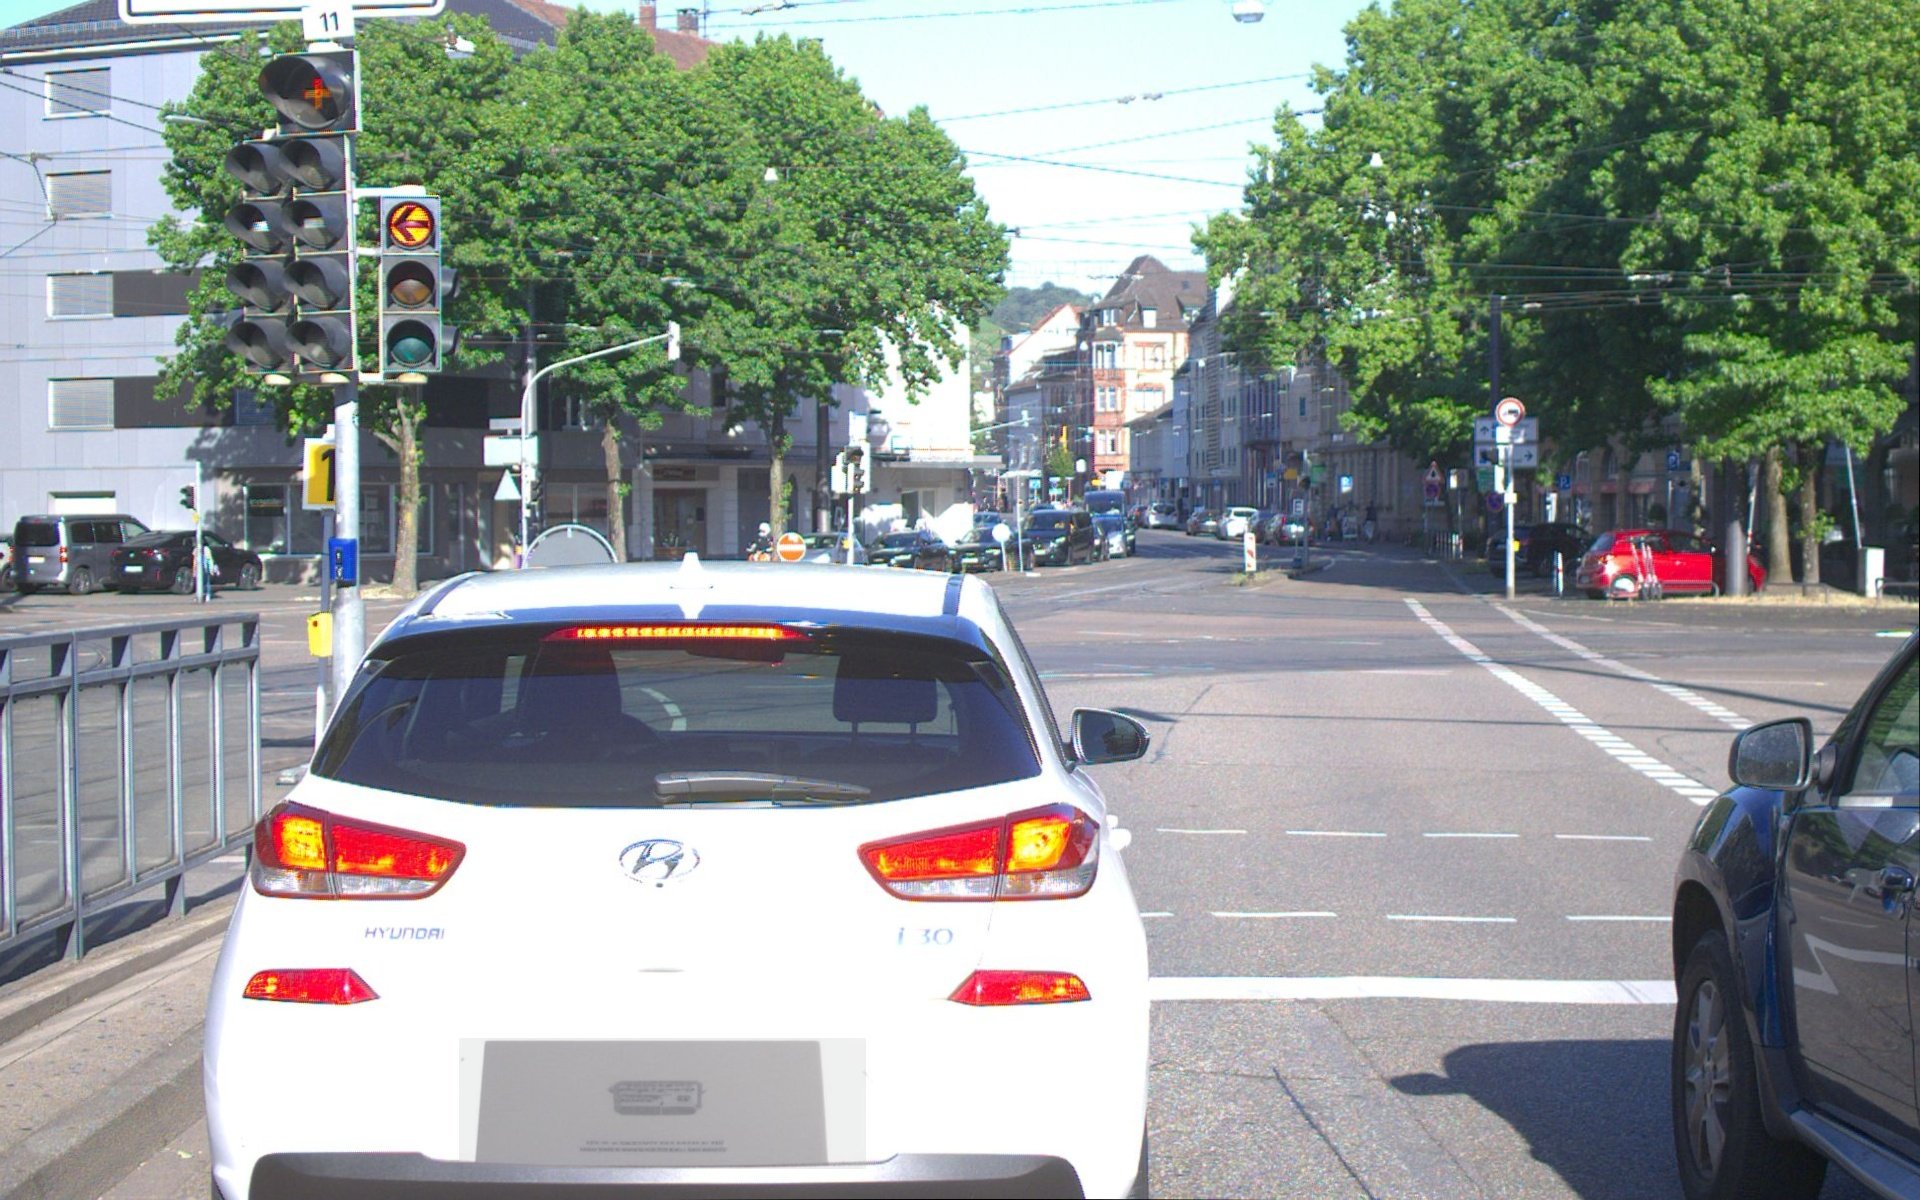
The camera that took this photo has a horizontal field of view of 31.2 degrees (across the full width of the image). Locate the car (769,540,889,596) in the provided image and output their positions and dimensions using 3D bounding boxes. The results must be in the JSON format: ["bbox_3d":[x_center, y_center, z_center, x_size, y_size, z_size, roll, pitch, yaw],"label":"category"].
[{"bbox_3d":[-3.583,-0.883,94.594,1.726,1.505,3.871,0,1,25],"label":"car"}]

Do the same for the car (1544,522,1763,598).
[{"bbox_3d":[14.023,-0.824,69.615,3.986,1.505,1.801,0,1,-8],"label":"car"}]

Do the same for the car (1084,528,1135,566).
[{"bbox_3d":[6.015,-2.151,138.648,1.794,1.505,4.000,0,1,-2],"label":"car"}]

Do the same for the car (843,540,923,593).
[{"bbox_3d":[-2.232,-0.975,100.517,1.794,1.505,3.999,0,0,7],"label":"car"}]

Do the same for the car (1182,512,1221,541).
[{"bbox_3d":[12.936,-3.940,184.179,1.794,1.517,4.000,0,1,-1],"label":"car"}]

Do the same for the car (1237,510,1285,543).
[{"bbox_3d":[13.898,-3.405,158.781,1.794,1.505,4.000,0,1,-1],"label":"car"}]

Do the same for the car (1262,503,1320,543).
[{"bbox_3d":[14.651,-3.412,152.420,2.105,1.770,4.342,0,1,-1],"label":"car"}]

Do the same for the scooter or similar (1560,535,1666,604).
[{"bbox_3d":[12.234,-0.573,64.461,1.949,1.276,0.552,1,1,41],"label":"scooter or similar"}]

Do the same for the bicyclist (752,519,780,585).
[{"bbox_3d":[-5.093,-1.262,90.220,0.468,1.739,0.716,0,1,23],"label":"bicyclist"}]

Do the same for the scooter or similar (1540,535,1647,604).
[{"bbox_3d":[11.773,-0.578,63.912,1.949,1.276,0.552,1,1,41],"label":"scooter or similar"}]

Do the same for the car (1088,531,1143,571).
[{"bbox_3d":[5.900,-1.863,130.661,1.794,1.505,4.000,0,1,-2],"label":"car"}]

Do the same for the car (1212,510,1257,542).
[{"bbox_3d":[13.168,-3.544,164.943,1.794,1.505,4.000,0,1,-1],"label":"car"}]

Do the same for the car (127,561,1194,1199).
[{"bbox_3d":[-0.547,0.657,7.870,1.808,1.447,4.000,1,1,-1],"label":"car"}]

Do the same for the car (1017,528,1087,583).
[{"bbox_3d":[3.128,-1.504,116.054,1.795,1.820,3.999,0,1,10],"label":"car"}]

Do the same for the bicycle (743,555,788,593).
[{"bbox_3d":[-5.095,-0.685,90.228,0.468,0.953,1.765,0,1,23],"label":"bicycle"}]

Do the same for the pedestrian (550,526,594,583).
[{"bbox_3d":[-10.098,-1.184,89.523,0.803,1.479,0.861,0,1,26],"label":"pedestrian"}]

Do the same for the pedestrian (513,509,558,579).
[{"bbox_3d":[-10.822,-1.426,87.618,0.837,1.765,0.781,0,1,25],"label":"pedestrian"}]

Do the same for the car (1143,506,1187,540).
[{"bbox_3d":[12.432,-4.685,209.194,2.327,2.007,4.977,0,1,-1],"label":"car"}]

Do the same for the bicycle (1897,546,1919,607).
[{"bbox_3d":[17.882,-0.441,63.816,0.609,1.104,1.800,0,1,4],"label":"bicycle"}]

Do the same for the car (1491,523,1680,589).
[{"bbox_3d":[14.580,-1.037,80.250,3.986,1.505,1.800,0,1,-6],"label":"car"}]

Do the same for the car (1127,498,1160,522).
[{"bbox_3d":[11.437,-5.625,214.650,1.794,1.505,4.000,0,1,-1],"label":"car"}]

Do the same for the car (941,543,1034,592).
[{"bbox_3d":[0.898,-1.024,108.632,1.796,1.505,3.996,0,0,19],"label":"car"}]

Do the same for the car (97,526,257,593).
[{"bbox_3d":[-19.505,-1.031,85.774,1.923,1.643,4.176,0,1,20],"label":"car"}]

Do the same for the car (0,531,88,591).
[{"bbox_3d":[-24.347,-1.025,88.512,1.796,1.505,4.006,0,1,18],"label":"car"}]

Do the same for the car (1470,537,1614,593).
[{"bbox_3d":[16.010,-0.985,94.471,3.989,1.505,1.799,-1,1,-42],"label":"car"}]

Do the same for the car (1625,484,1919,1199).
[{"bbox_3d":[2.492,0.622,6.008,1.800,1.632,4.045,0,1,-1],"label":"car"}]

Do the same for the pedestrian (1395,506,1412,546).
[{"bbox_3d":[18.538,-3.087,143.792,0.648,1.645,0.650,1,0,10],"label":"pedestrian"}]

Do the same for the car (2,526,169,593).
[{"bbox_3d":[-21.967,-1.034,86.488,1.797,1.643,4.004,1,1,29],"label":"car"}]
